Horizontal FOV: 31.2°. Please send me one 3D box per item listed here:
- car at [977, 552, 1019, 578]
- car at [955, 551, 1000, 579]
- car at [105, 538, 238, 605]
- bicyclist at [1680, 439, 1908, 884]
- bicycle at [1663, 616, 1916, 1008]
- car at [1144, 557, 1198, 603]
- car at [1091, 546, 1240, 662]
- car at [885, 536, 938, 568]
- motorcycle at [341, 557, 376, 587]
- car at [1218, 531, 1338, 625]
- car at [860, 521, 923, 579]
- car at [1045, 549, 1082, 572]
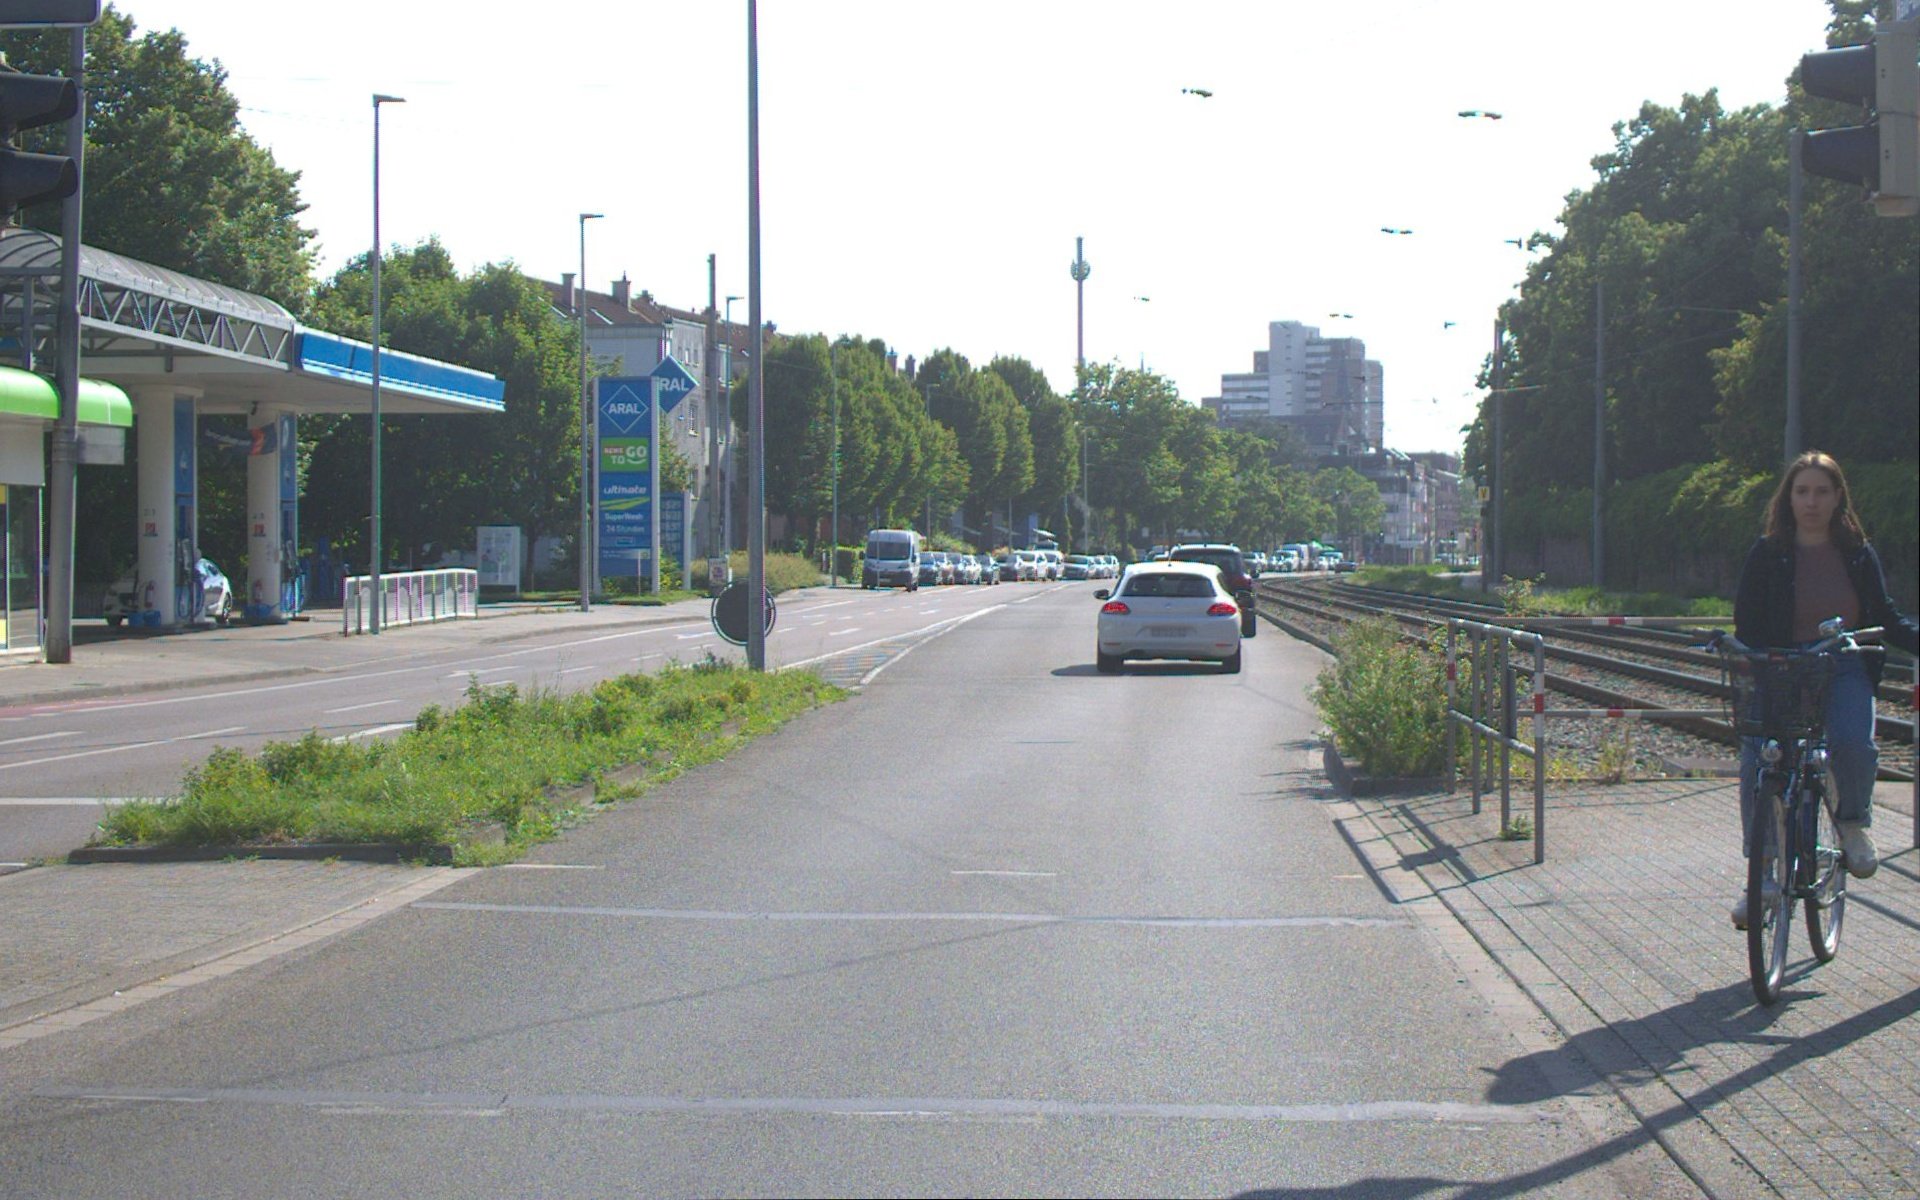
[{"bbox_3d":[2.126,-1.964,190.841,1.994,1.411,3.843,0,1,5],"label":"car"},{"bbox_3d":[0.906,-1.840,179.043,1.994,1.411,3.843,0,1,5],"label":"car"},{"bbox_3d":[-16.756,-0.628,73.233,1.744,1.388,4.121,0,1,2],"label":"car"},{"bbox_3d":[2.801,0.185,11.492,0.644,1.411,1.012,0,1,19],"label":"bicyclist"},{"bbox_3d":[2.800,0.650,11.485,0.644,1.150,1.935,0,1,19],"label":"bicycle"},{"bbox_3d":[7.192,-0.698,117.425,1.749,1.480,3.601,2,1,3],"label":"car"},{"bbox_3d":[2.622,0.018,44.061,1.781,1.351,3.601,2,1,3],"label":"car"},{"bbox_3d":[-2.193,-2.179,156.600,1.994,1.411,3.843,0,1,5],"label":"car"},{"bbox_3d":[-18.641,-0.862,106.564,0.671,0.898,1.671,0,1,4],"label":"motorcycle"},{"bbox_3d":[5.721,-0.421,62.125,1.724,1.587,3.601,2,1,-1],"label":"car"},{"bbox_3d":[-2.804,-2.072,141.477,1.994,2.368,4.537,0,1,6],"label":"car"},{"bbox_3d":[6.382,-2.443,211.915,1.994,1.411,3.843,0,1,5],"label":"car"}]
